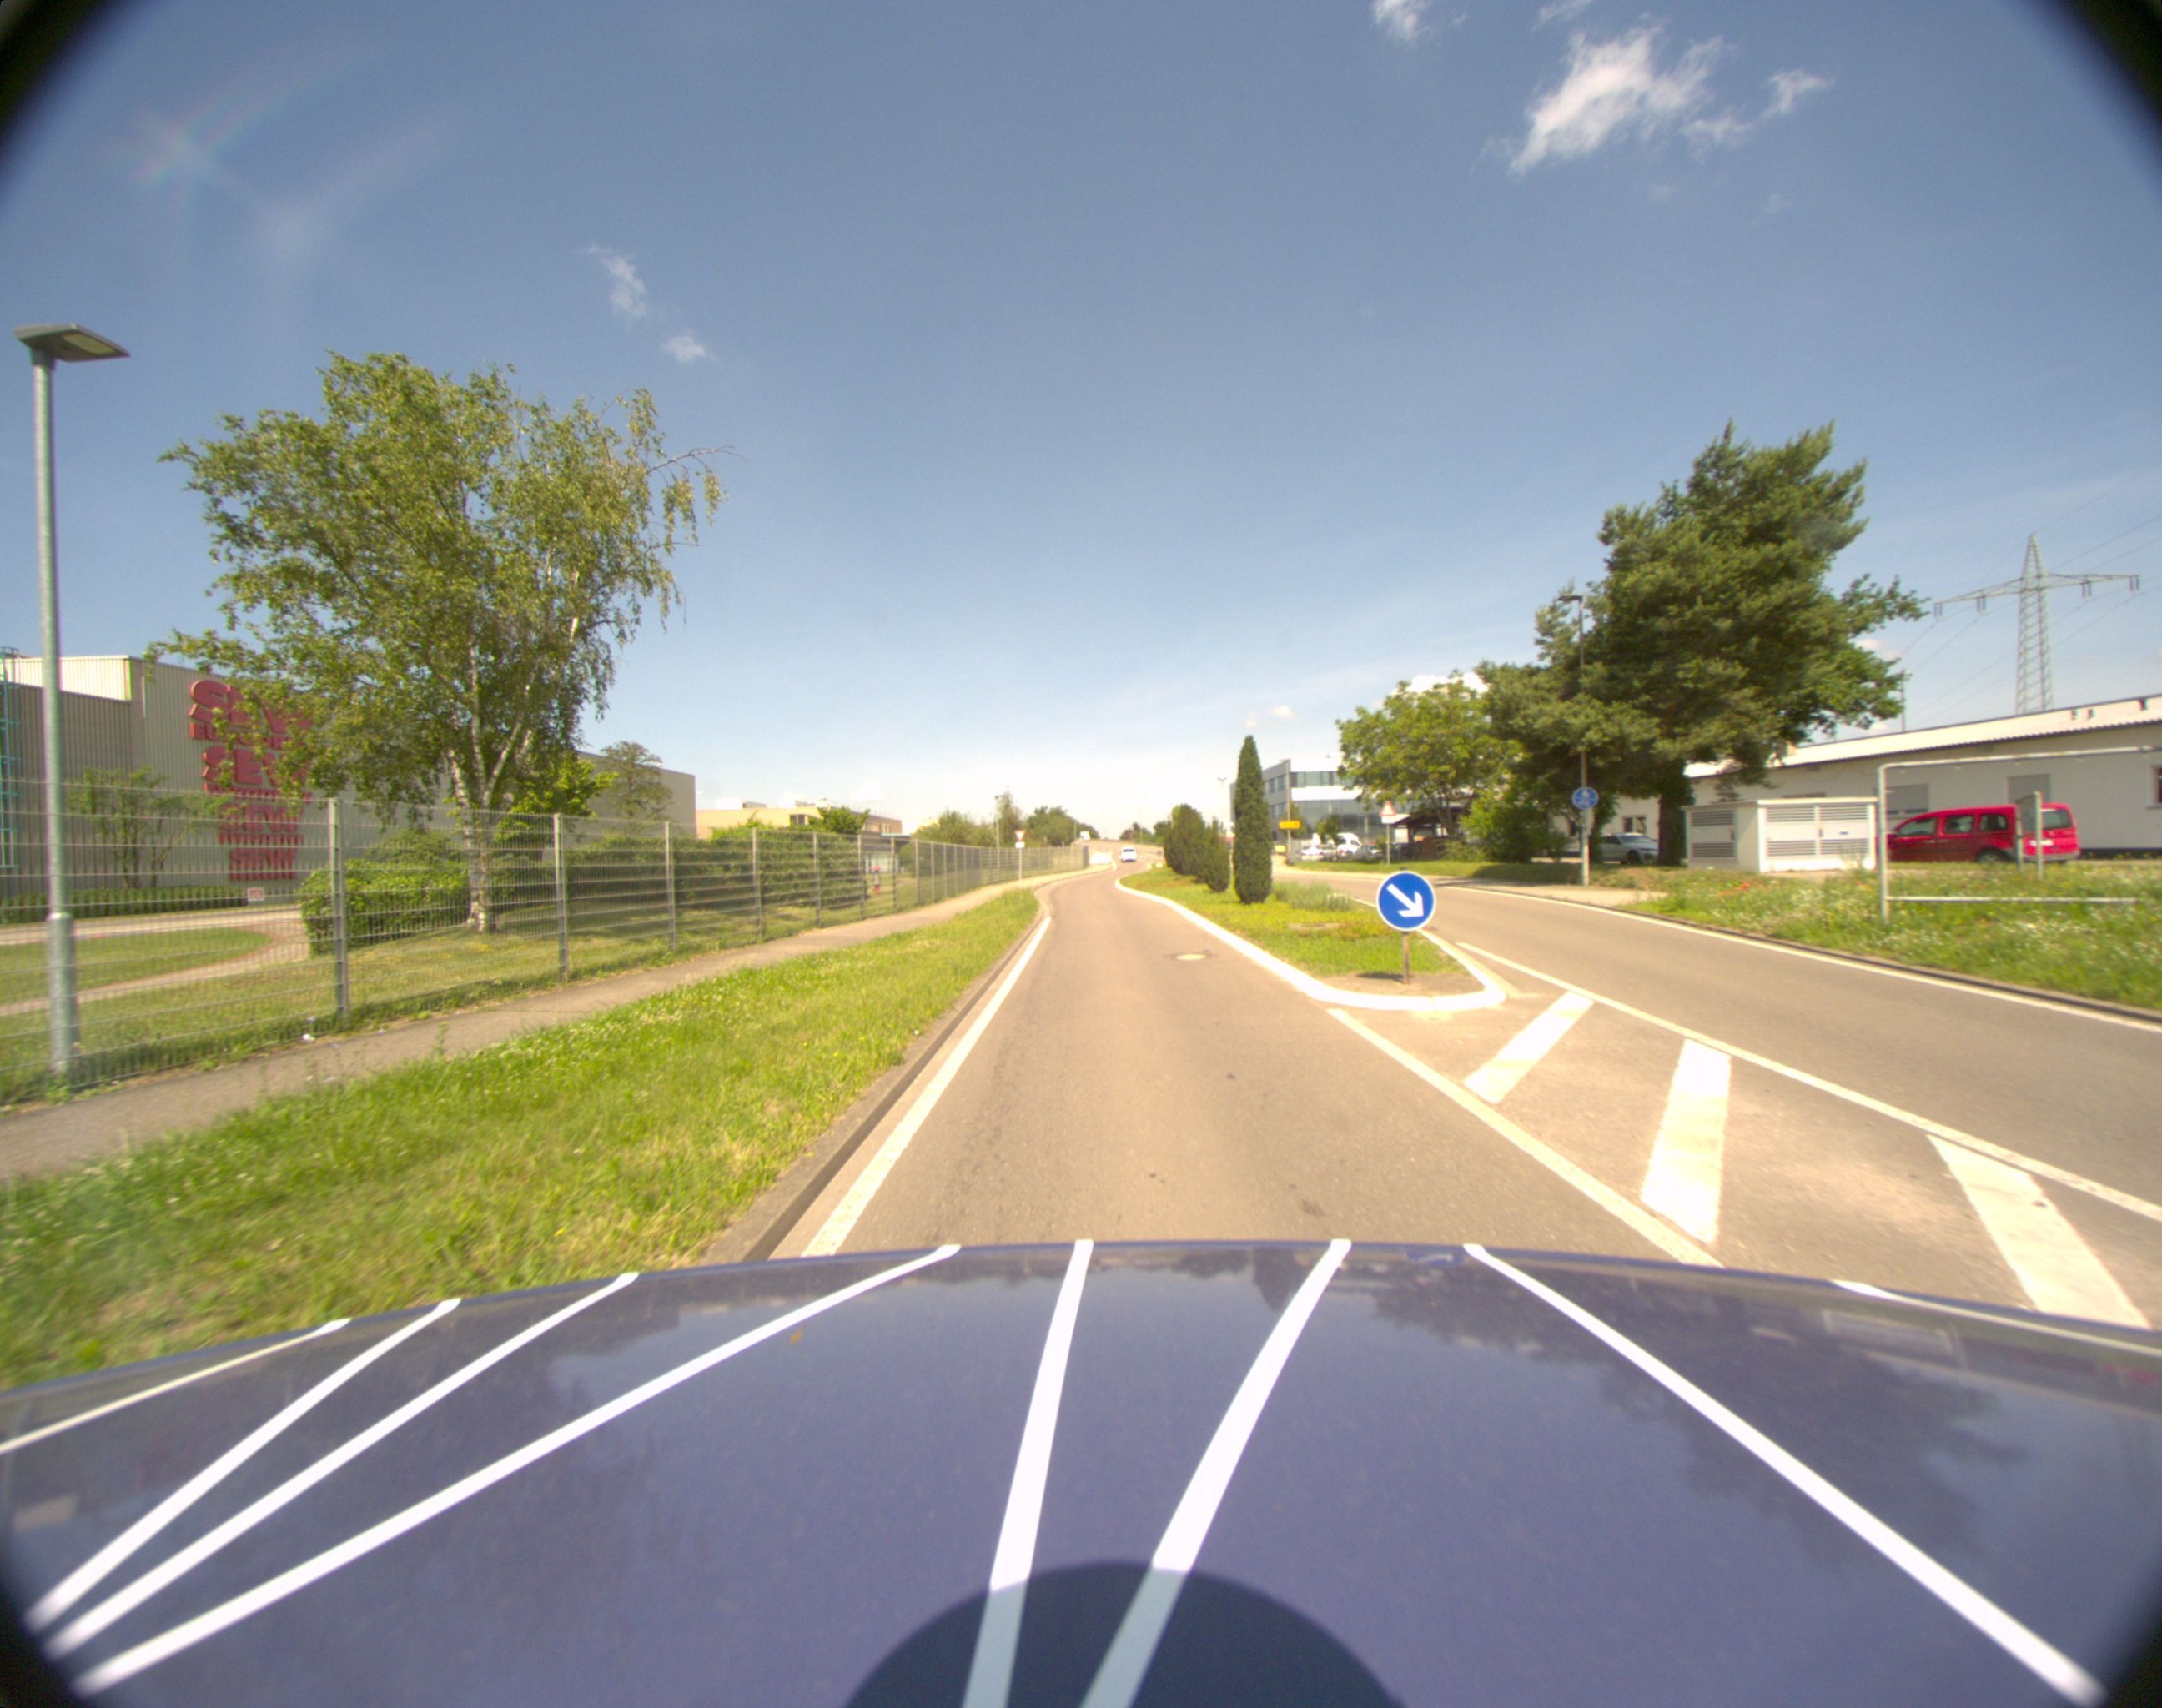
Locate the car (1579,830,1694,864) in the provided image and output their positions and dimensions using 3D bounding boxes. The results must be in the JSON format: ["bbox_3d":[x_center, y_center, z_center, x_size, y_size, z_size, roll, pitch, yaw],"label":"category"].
[{"bbox_3d":[25.513,-0.294,35.118,1.998,1.400,4.516,-2,0,0],"label":"car"}]

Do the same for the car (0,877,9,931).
[{"bbox_3d":[-42.485,1.956,27.580,4.170,2.002,1.971,-2,1,-2],"label":"car"}]

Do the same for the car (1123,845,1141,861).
[{"bbox_3d":[6.349,-0.097,94.675,1.998,1.904,4.000,-2,1,2],"label":"car"}]

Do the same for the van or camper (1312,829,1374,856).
[{"bbox_3d":[26.134,-1.174,75.767,5.574,2.483,2.082,-1,1,27],"label":"van or camper"}]

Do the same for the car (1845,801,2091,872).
[{"bbox_3d":[24.819,-0.461,21.540,1.999,1.734,4.228,-2,1,-1],"label":"car"}]

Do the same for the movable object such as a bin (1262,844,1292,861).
[{"bbox_3d":[28.553,-0.279,111.076,2.172,2.396,5.455,-2,1,-10],"label":"movable object such as a bin"}]

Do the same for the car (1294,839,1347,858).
[{"bbox_3d":[20.337,-0.494,64.619,3.995,1.510,2.001,-1,1,7],"label":"car"}]
